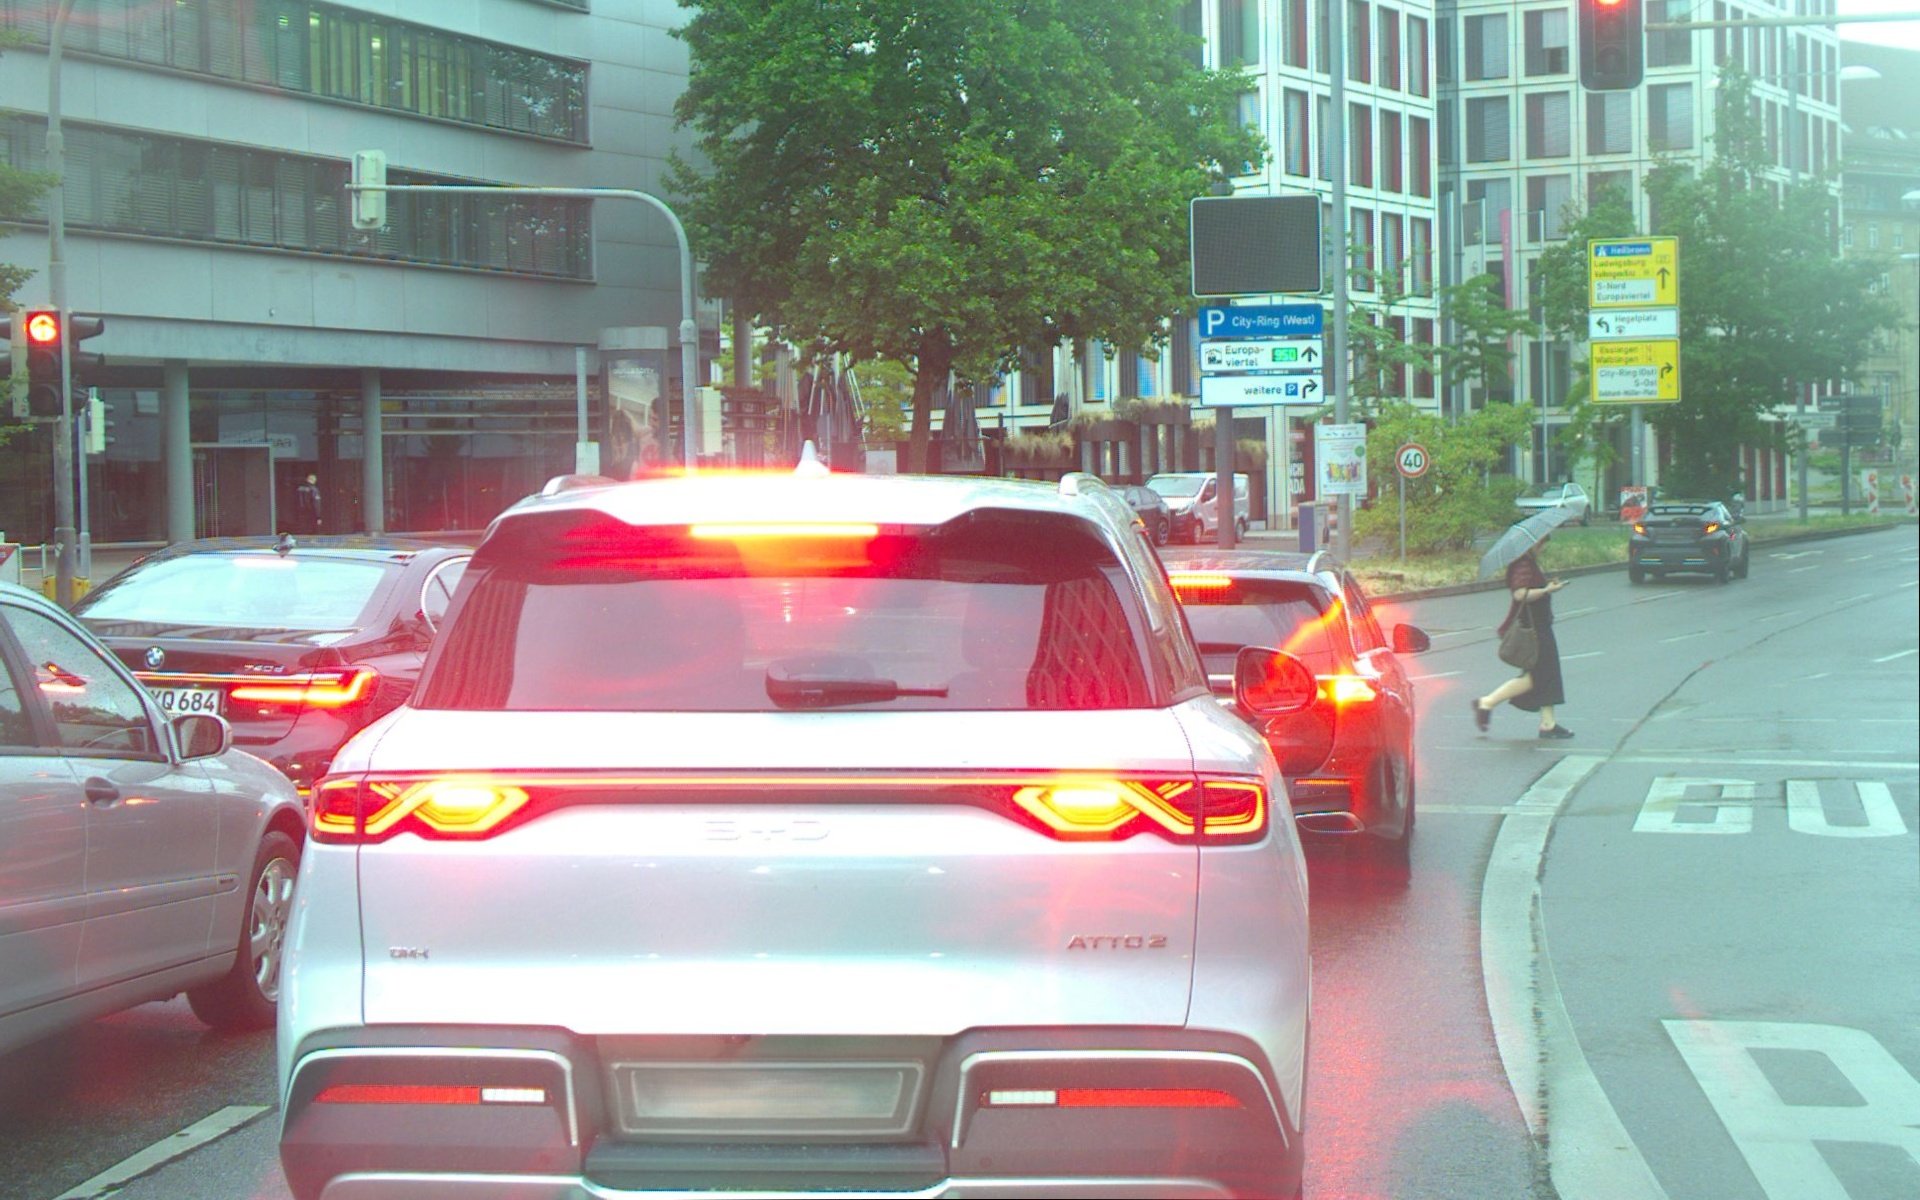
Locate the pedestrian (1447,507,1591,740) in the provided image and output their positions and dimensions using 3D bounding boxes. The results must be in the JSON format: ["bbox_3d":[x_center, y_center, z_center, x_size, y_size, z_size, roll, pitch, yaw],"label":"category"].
[{"bbox_3d":[4.226,0.164,26.020,0.921,1.732,0.730,0,1,-5],"label":"pedestrian"}]

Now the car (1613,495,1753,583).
[{"bbox_3d":[13.505,-1.151,64.072,1.995,1.546,3.996,2,2,20],"label":"car"}]

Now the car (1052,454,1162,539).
[{"bbox_3d":[3.898,-2.695,90.421,1.739,2.154,4.490,1,1,18],"label":"car"}]

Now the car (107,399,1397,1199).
[{"bbox_3d":[-0.243,0.488,7.571,1.993,1.703,4.483,0,2,2],"label":"car"}]

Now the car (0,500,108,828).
[{"bbox_3d":[-5.731,0.320,16.027,1.886,1.590,3.998,0,1,12],"label":"car"}]

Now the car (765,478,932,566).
[{"bbox_3d":[-2.292,-1.655,71.711,1.996,1.700,3.996,1,3,23],"label":"car"}]

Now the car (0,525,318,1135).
[{"bbox_3d":[-3.127,0.556,8.983,1.682,1.481,4.196,0,1,7],"label":"car"}]

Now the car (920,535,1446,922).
[{"bbox_3d":[1.167,0.474,15.895,1.956,1.525,3.998,0,1,11],"label":"car"}]

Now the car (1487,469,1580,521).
[{"bbox_3d":[19.958,-3.663,119.526,1.996,1.700,4.303,1,3,27],"label":"car"}]

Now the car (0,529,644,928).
[{"bbox_3d":[-2.907,0.450,15.395,1.956,1.525,3.998,0,1,11],"label":"car"}]

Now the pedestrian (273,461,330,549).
[{"bbox_3d":[-13.045,-1.876,68.112,0.728,1.721,0.924,0,1,21],"label":"pedestrian"}]
